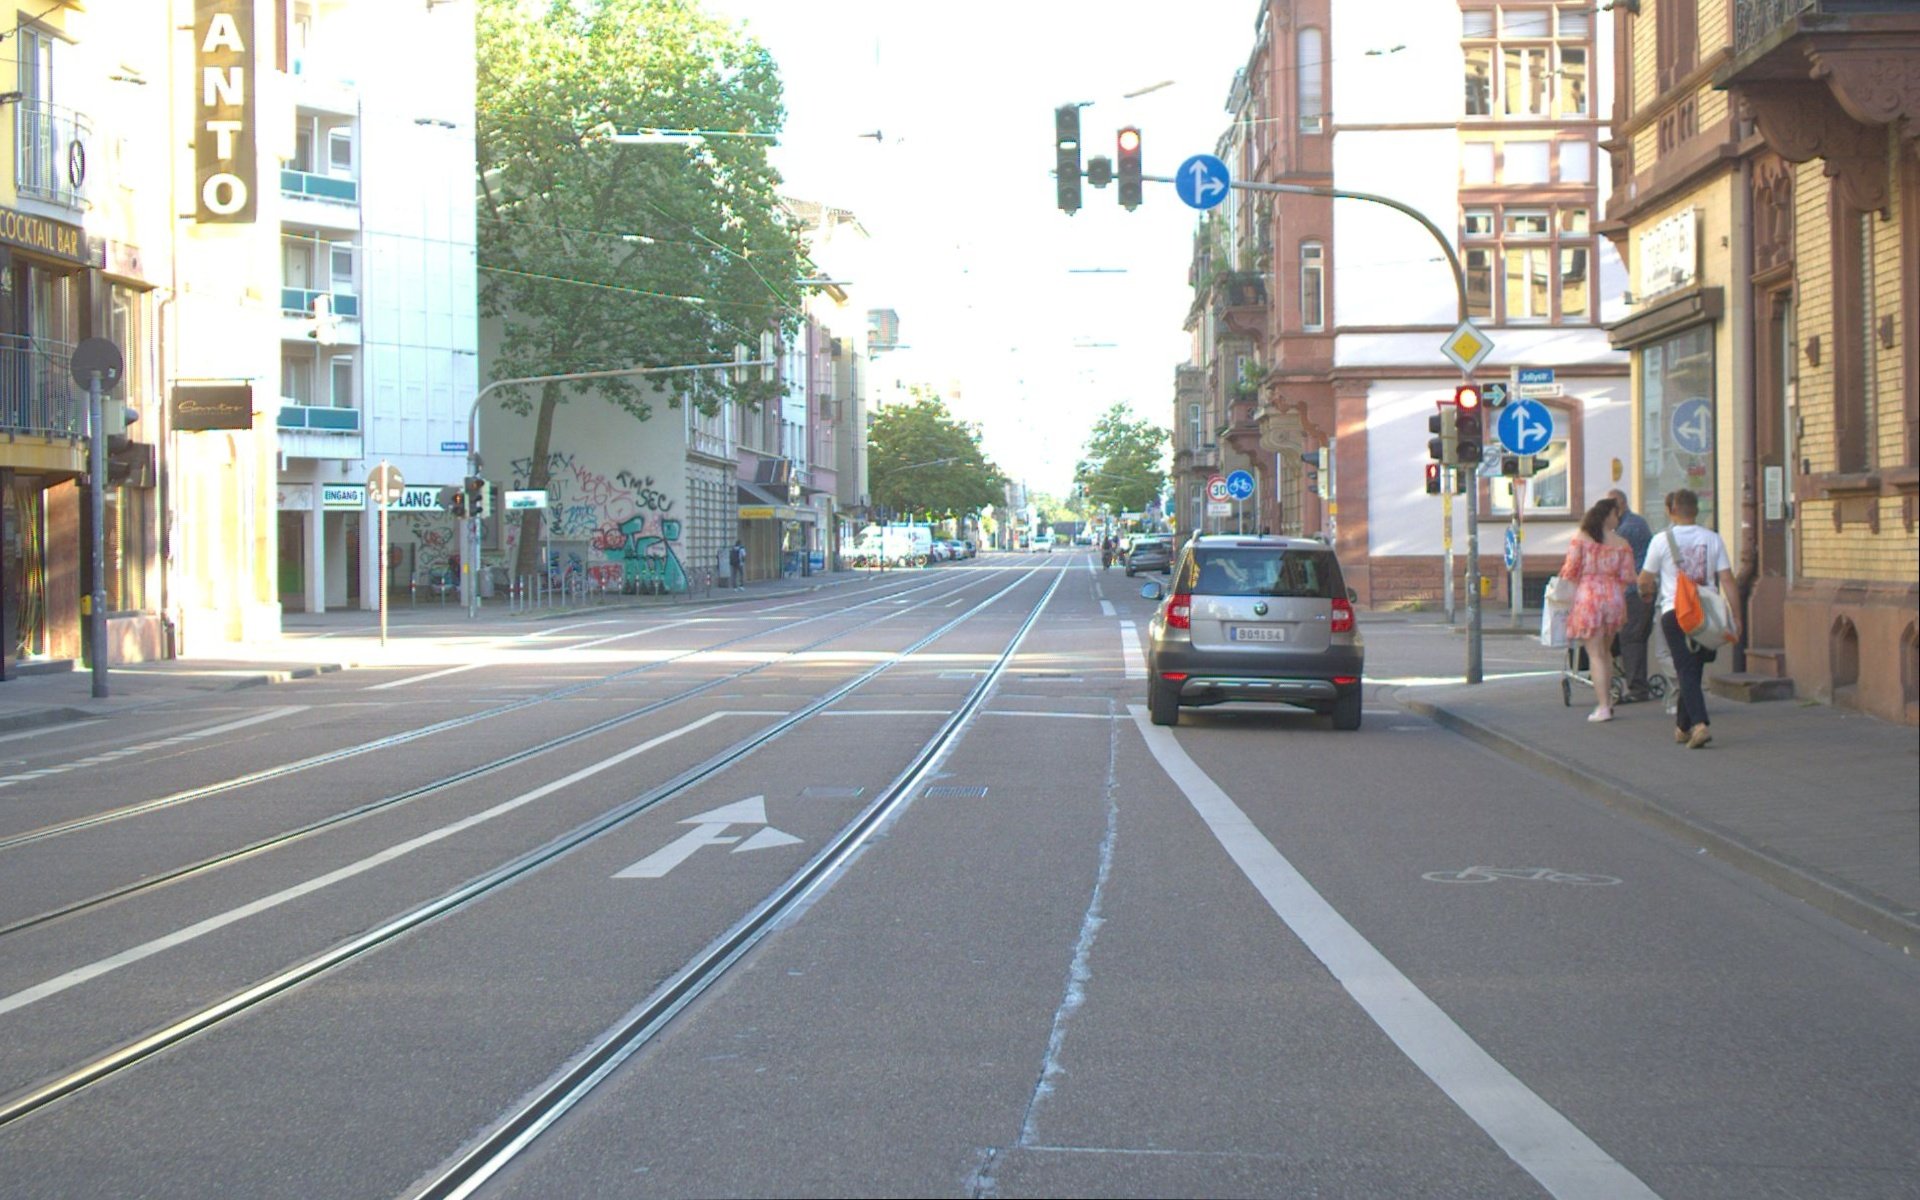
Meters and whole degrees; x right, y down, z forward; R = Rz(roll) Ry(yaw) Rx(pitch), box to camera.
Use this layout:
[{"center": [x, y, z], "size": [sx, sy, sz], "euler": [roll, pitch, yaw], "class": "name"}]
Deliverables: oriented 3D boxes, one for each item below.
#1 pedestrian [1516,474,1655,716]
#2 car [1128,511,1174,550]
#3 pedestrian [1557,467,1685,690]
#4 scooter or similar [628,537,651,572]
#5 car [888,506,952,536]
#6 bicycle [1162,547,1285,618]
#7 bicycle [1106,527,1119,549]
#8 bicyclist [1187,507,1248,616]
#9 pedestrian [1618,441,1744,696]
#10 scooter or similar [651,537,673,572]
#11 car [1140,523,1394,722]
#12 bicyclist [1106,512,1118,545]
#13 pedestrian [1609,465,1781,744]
[{"center": [4.872, -0.052, 26.833], "size": [0.805, 1.793, 0.761], "euler": [-5, 2, 1], "class": "pedestrian"}, {"center": [8.476, -3.098, 152.495], "size": [1.950, 1.678, 4.000], "euler": [-1, 1, 3], "class": "car"}, {"center": [5.563, -0.192, 28.963], "size": [0.805, 1.793, 0.761], "euler": [-5, 2, 2], "class": "pedestrian"}, {"center": [-9.743, -1.377, 104.502], "size": [0.516, 1.042, 1.478], "euler": [-1, 1, 0], "class": "scooter or similar"}, {"center": [-2.804, -5.469, 239.176], "size": [3.986, 2.007, 2.001], "euler": [-2, 1, -22], "class": "car"}, {"center": [3.966, -0.270, 51.754], "size": [1.716, 1.031, 0.598], "euler": [1, 0, 23], "class": "bicycle"}, {"center": [7.253, -2.954, 163.856], "size": [0.575, 1.026, 1.895], "euler": [-1, 1, 3], "class": "bicycle"}, {"center": [3.879, -0.582, 51.763], "size": [0.740, 1.628, 0.607], "euler": [1, 0, 23], "class": "bicyclist"}, {"center": [5.609, -0.252, 26.776], "size": [0.690, 1.902, 0.670], "euler": [-5, 2, 1], "class": "pedestrian"}, {"center": [-9.050, -1.382, 104.460], "size": [0.516, 1.053, 1.478], "euler": [-1, 1, 0], "class": "scooter or similar"}, {"center": [2.623, 0.137, 30.254], "size": [1.993, 1.612, 4.000], "euler": [0, 1, 2], "class": "car"}, {"center": [7.241, -3.405, 163.830], "size": [0.575, 1.548, 0.595], "euler": [-1, 1, 4], "class": "bicyclist"}, {"center": [5.007, 0.013, 23.479], "size": [0.805, 1.793, 1.092], "euler": [-5, 2, 1], "class": "pedestrian"}]
